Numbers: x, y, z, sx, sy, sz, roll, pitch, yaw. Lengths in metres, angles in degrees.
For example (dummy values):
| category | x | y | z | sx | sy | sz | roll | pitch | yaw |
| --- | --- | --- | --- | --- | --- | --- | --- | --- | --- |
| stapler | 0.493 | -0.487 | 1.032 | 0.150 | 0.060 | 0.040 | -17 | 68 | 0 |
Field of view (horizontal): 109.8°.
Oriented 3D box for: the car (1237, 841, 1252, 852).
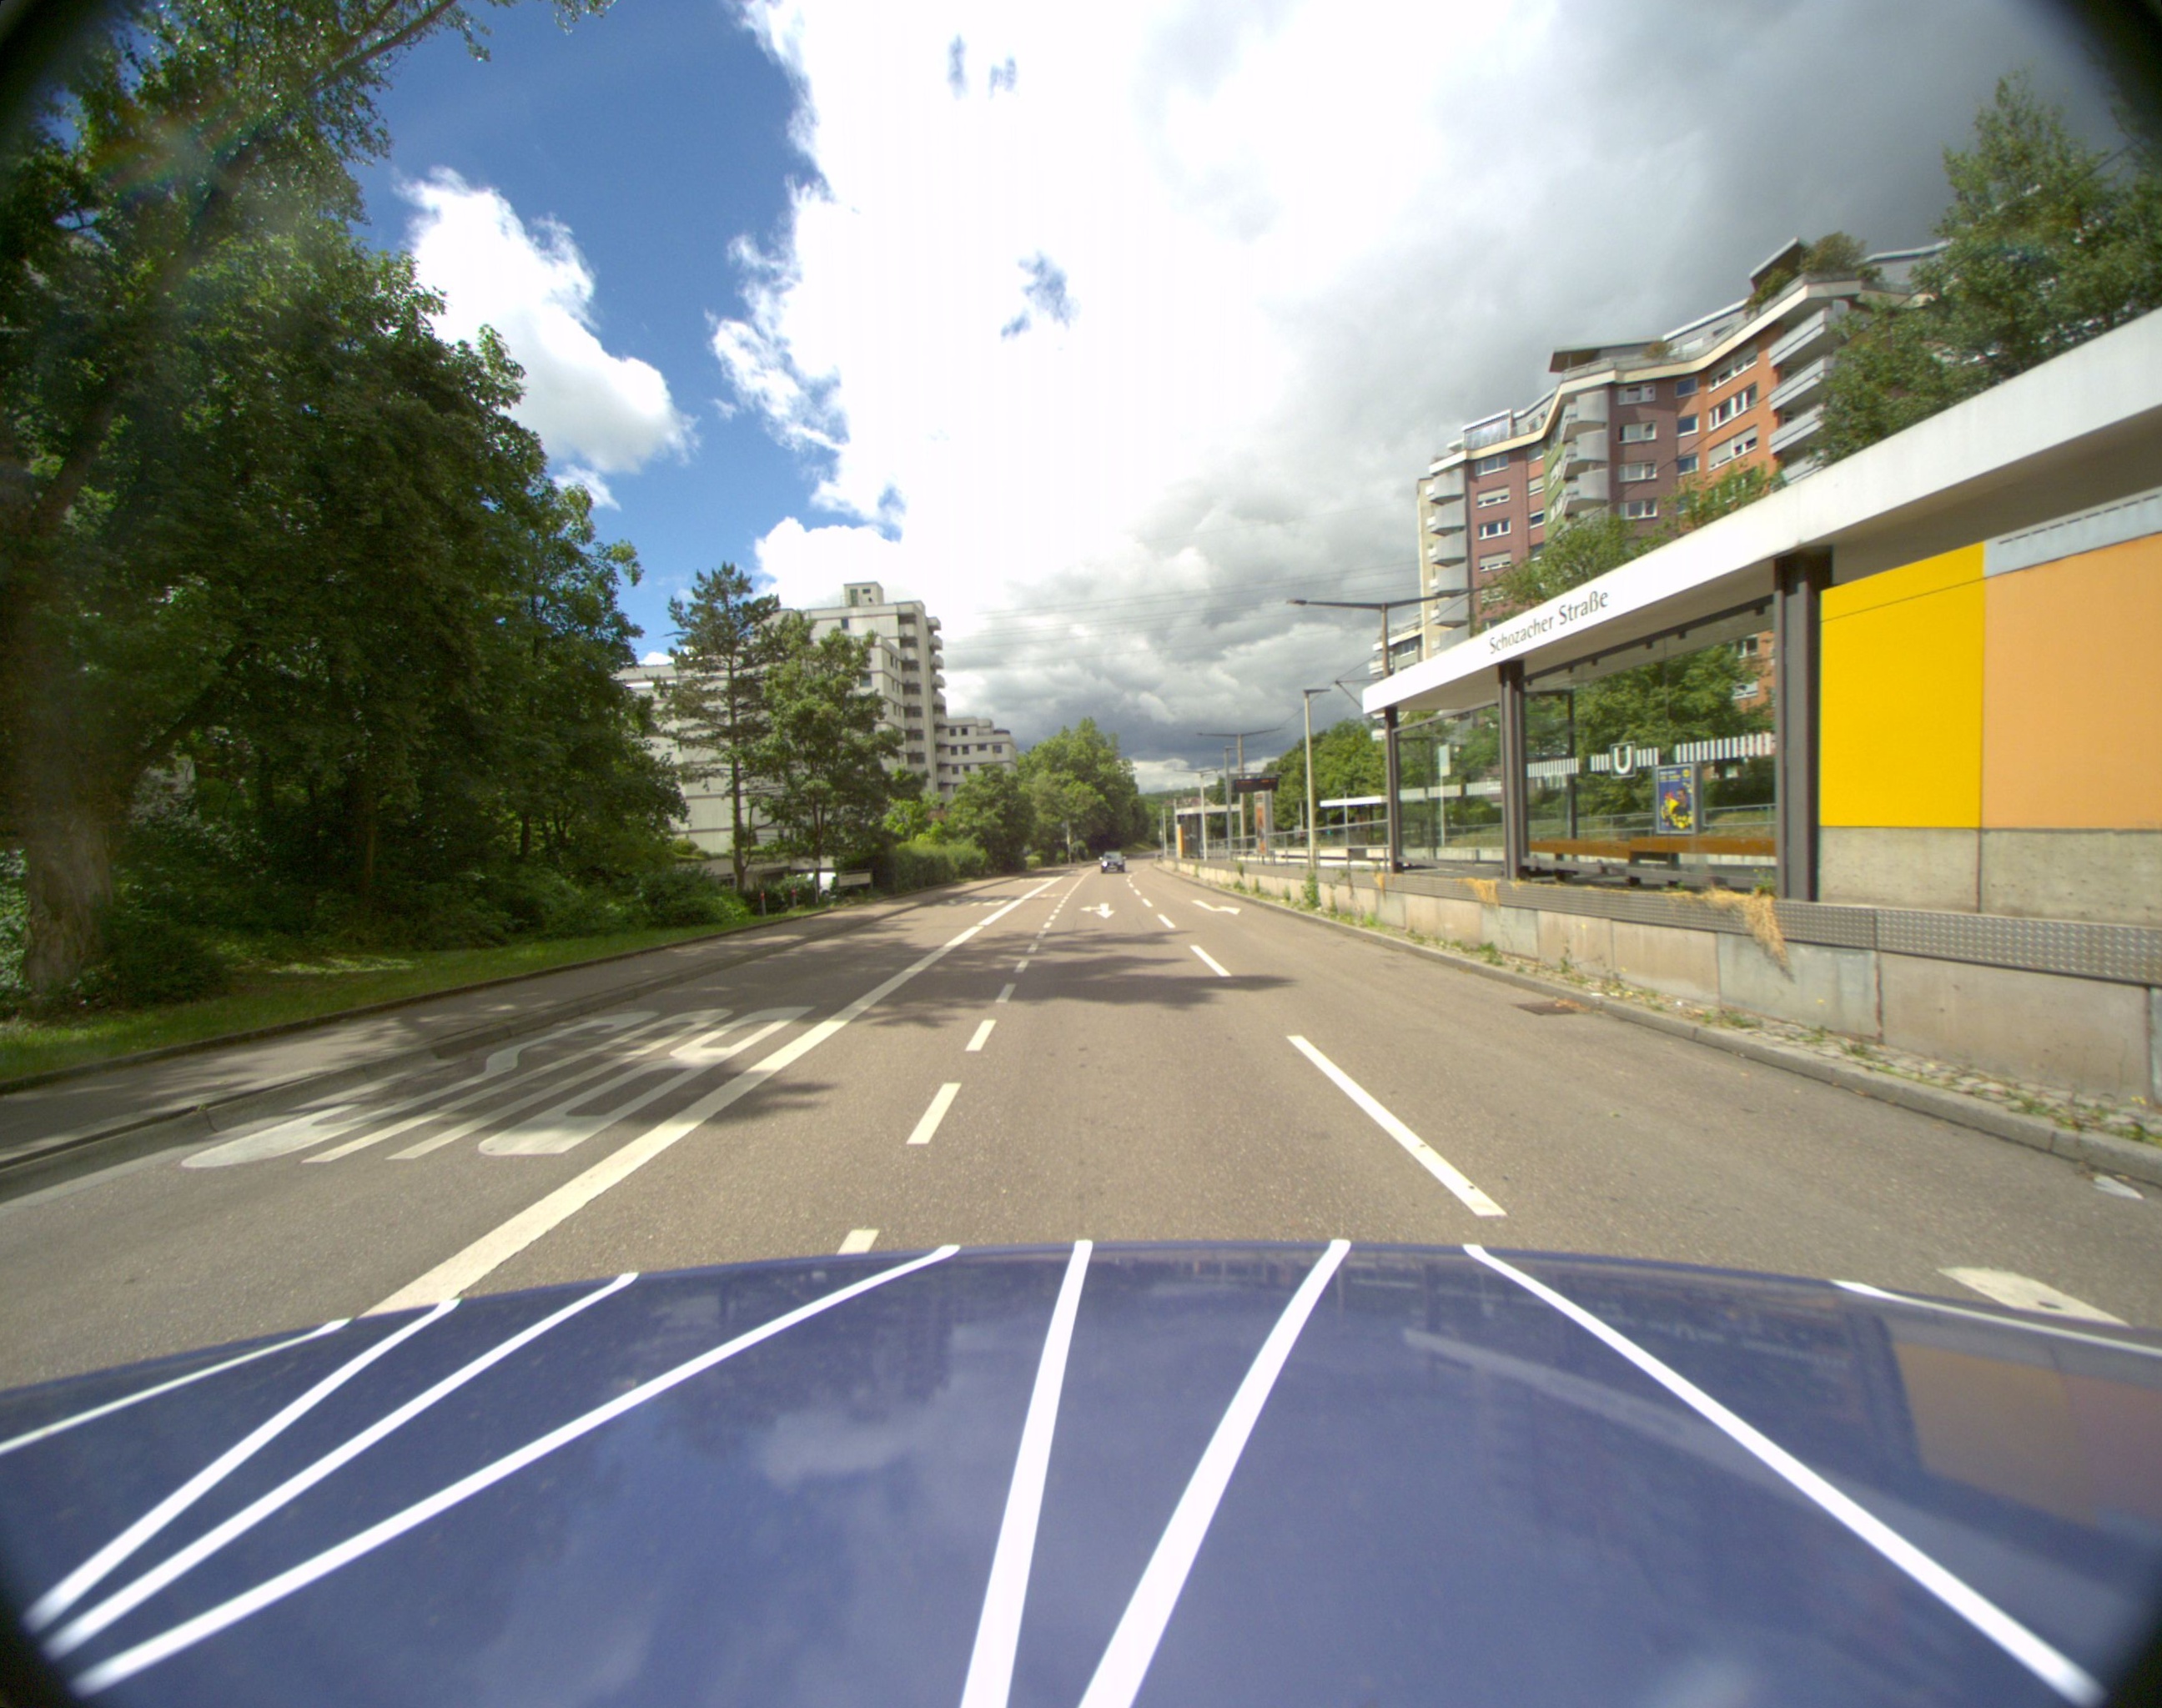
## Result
| category | x | y | z | sx | sy | sz | roll | pitch | yaw |
| --- | --- | --- | --- | --- | --- | --- | --- | --- | --- |
| car | 24.197 | -1.138 | 112.766 | 1.658 | 1.504 | 3.738 | -2 | 1 | 5 |

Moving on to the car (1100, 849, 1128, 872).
| category | x | y | z | sx | sy | sz | roll | pitch | yaw |
| --- | --- | --- | --- | --- | --- | --- | --- | --- | --- |
| car | 2.332 | 0.445 | 53.357 | 1.736 | 1.477 | 3.817 | -2 | 1 | 5 |

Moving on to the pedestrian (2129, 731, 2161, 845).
| category | x | y | z | sx | sy | sz | roll | pitch | yaw |
| --- | --- | --- | --- | --- | --- | --- | --- | --- | --- |
| pedestrian | 15.796 | -0.967 | 11.081 | 0.522 | 1.635 | 0.563 | -3 | 1 | -31 |

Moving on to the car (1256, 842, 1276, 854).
| category | x | y | z | sx | sy | sz | roll | pitch | yaw |
| --- | --- | --- | --- | --- | --- | --- | --- | --- | --- |
| car | 23.332 | -0.794 | 96.043 | 1.658 | 1.410 | 4.000 | -2 | 1 | 1 |
